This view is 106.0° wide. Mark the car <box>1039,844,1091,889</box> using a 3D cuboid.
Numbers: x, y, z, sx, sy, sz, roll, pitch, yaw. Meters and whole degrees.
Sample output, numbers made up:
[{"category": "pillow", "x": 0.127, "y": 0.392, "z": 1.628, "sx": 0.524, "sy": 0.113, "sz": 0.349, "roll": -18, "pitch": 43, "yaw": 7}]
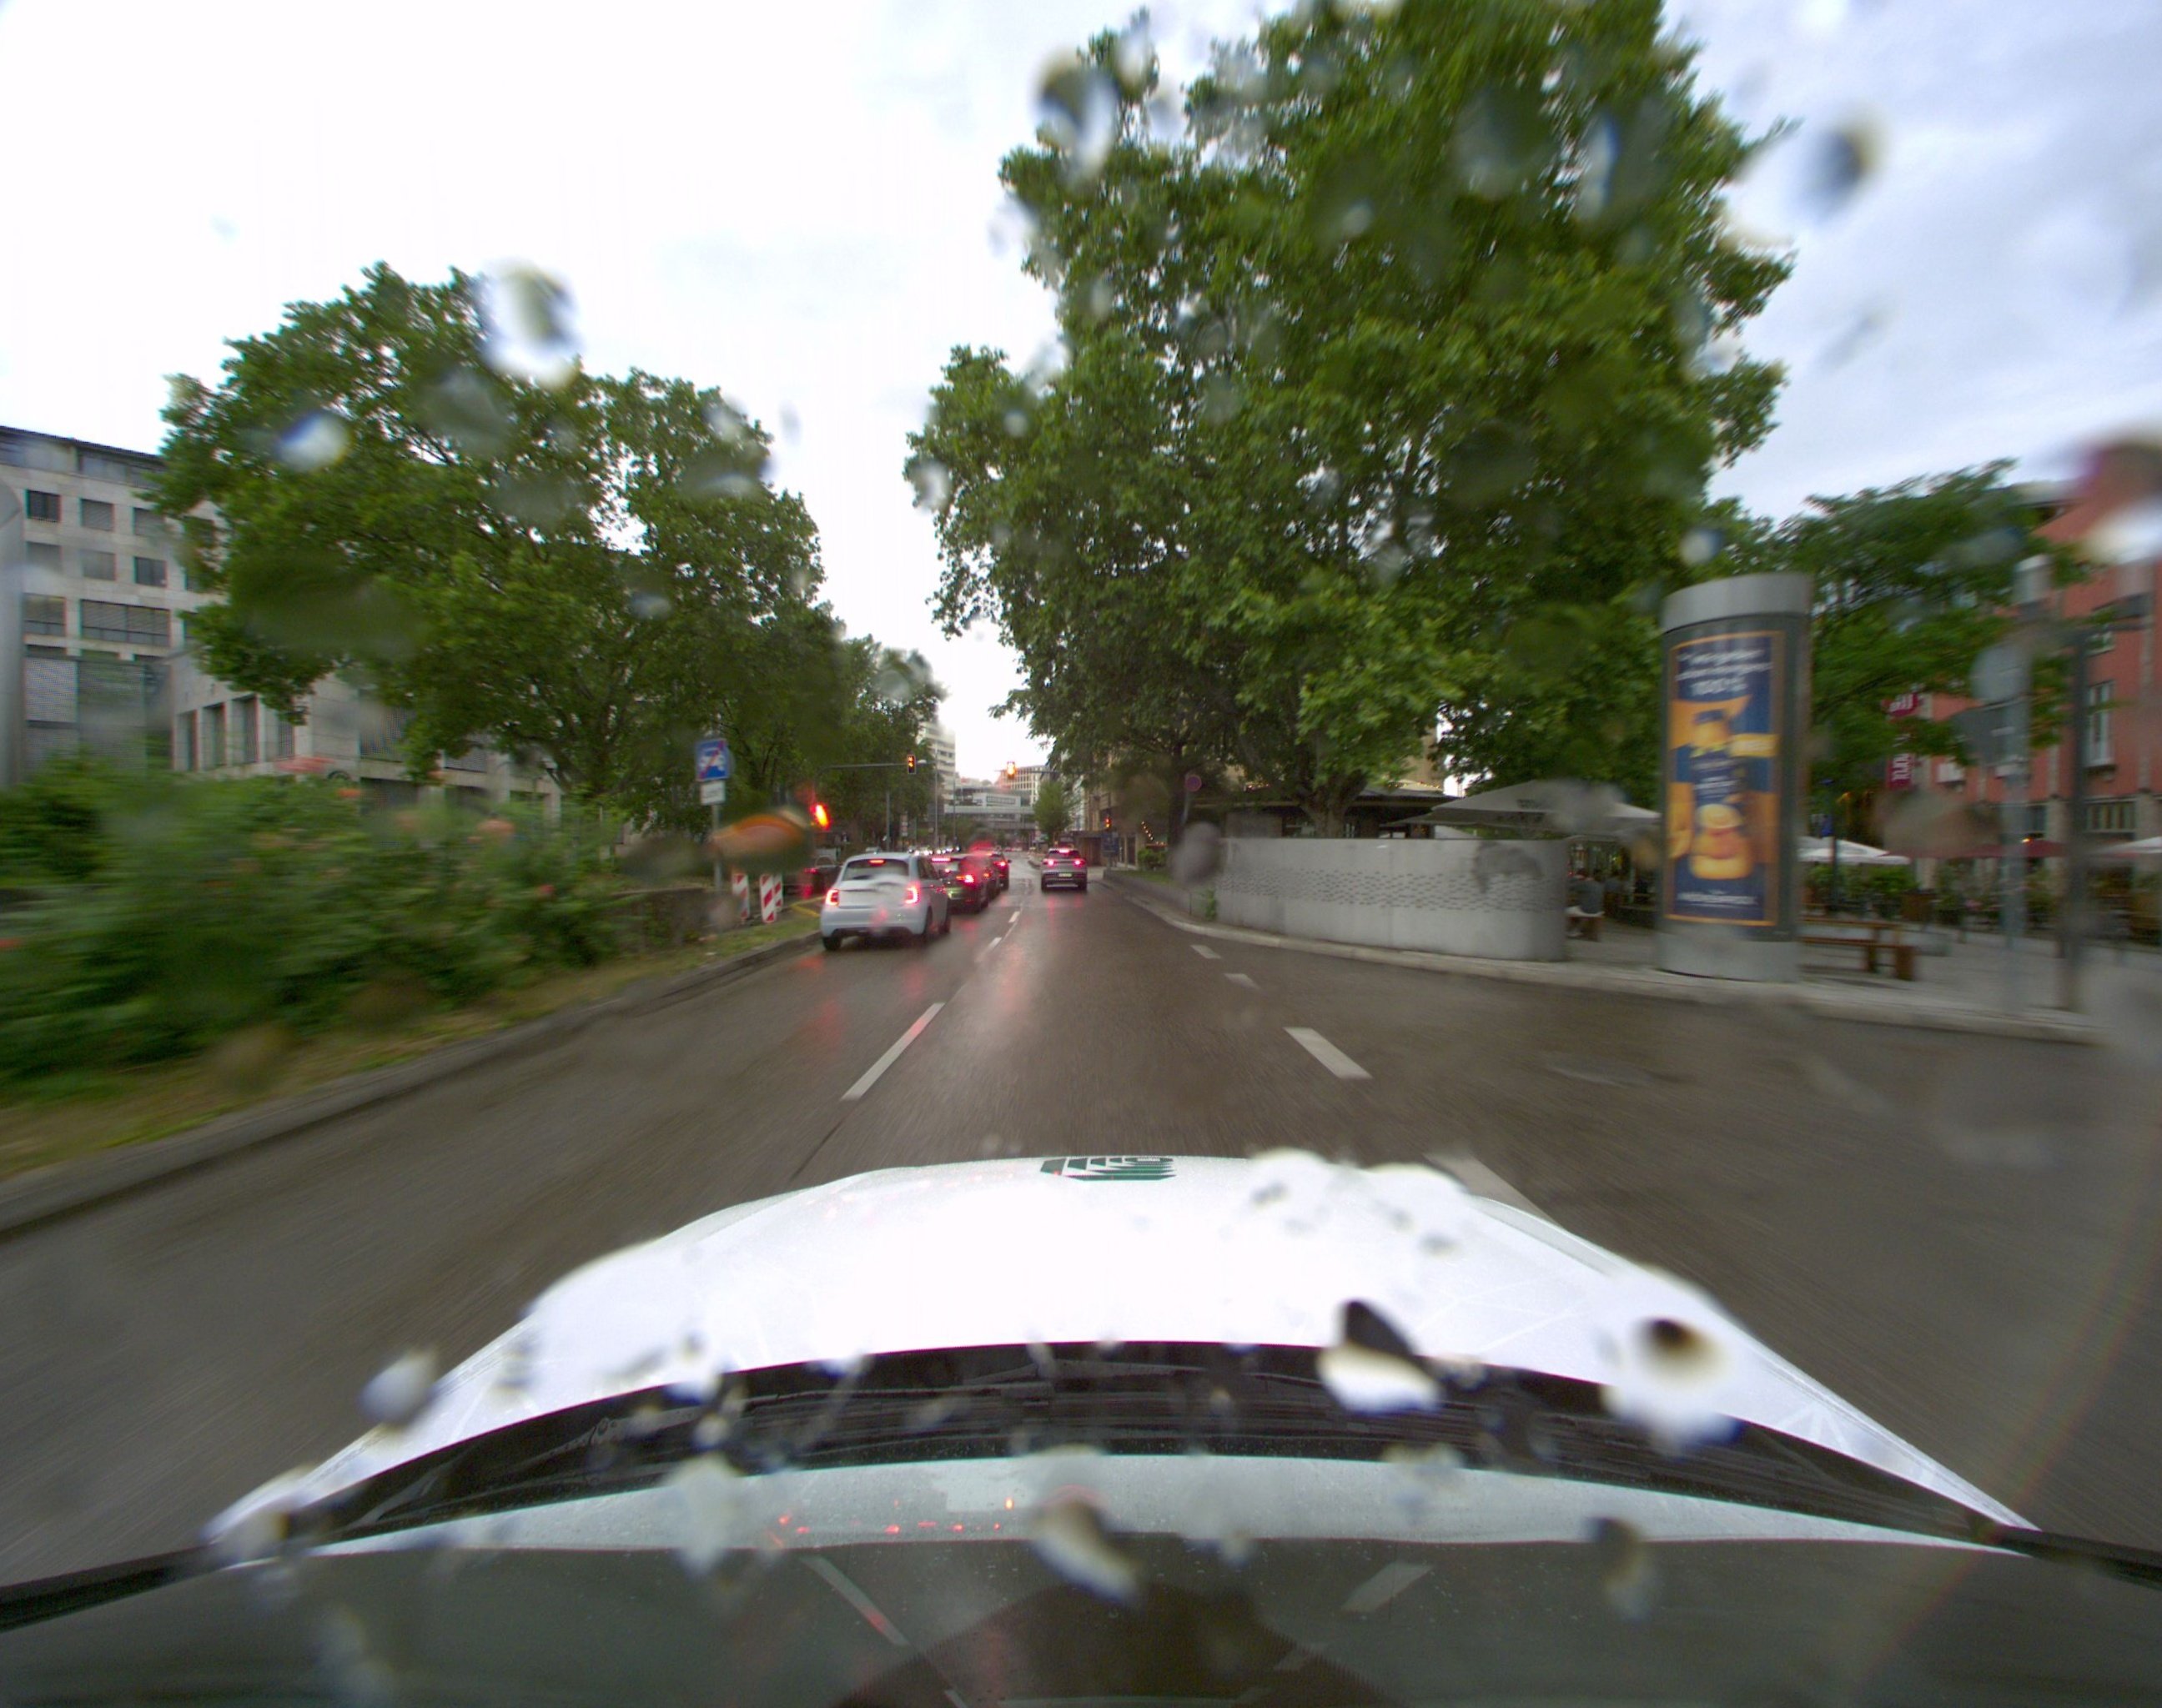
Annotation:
[{"category": "car", "x": -0.682, "y": 0.483, "z": 33.247, "sx": 1.942, "sy": 1.666, "sz": 4.342, "roll": 1, "pitch": 0, "yaw": -2}]

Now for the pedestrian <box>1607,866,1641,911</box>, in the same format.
[{"category": "pedestrian", "x": 17.417, "y": 1.102, "z": 26.139, "sx": 0.607, "sy": 1.412, "sz": 0.628, "roll": 3, "pitch": 0, "yaw": -10}]

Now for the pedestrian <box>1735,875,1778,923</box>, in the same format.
[{"category": "pedestrian", "x": 18.536, "y": 1.237, "z": 22.362, "sx": 0.626, "sy": 1.250, "sz": 0.610, "roll": 3, "pitch": 0, "yaw": 2}]

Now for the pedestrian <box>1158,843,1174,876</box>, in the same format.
[{"category": "pedestrian", "x": 4.659, "y": 0.302, "z": 44.741, "sx": 0.856, "sy": 1.780, "sz": 0.718, "roll": 0, "pitch": 0, "yaw": 1}]

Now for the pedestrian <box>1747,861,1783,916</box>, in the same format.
[{"category": "pedestrian", "x": 23.672, "y": 1.189, "z": 28.197, "sx": 0.739, "sy": 1.832, "sz": 0.612, "roll": 3, "pitch": 0, "yaw": 18}]

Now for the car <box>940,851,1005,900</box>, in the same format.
[{"category": "car", "x": -3.545, "y": 0.649, "z": 27.279, "sx": 1.687, "sy": 1.463, "sz": 4.342, "roll": -2, "pitch": 0, "yaw": -2}]

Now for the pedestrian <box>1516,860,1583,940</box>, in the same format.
[{"category": "pedestrian", "x": 8.655, "y": 0.827, "z": 15.075, "sx": 0.682, "sy": 1.410, "sz": 0.905, "roll": 3, "pitch": 0, "yaw": 2}]

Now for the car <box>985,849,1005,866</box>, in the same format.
[{"category": "car", "x": -8.017, "y": 0.294, "z": 75.901, "sx": 1.688, "sy": 1.463, "sz": 4.338, "roll": -2, "pitch": 0, "yaw": -5}]

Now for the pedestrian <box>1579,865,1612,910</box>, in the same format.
[{"category": "pedestrian", "x": 16.948, "y": 1.102, "z": 26.823, "sx": 0.607, "sy": 1.412, "sz": 0.628, "roll": 3, "pitch": 0, "yaw": -10}]

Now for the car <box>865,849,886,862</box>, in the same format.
[{"category": "car", "x": -25.511, "y": 0.173, "z": 101.063, "sx": 1.791, "sy": 1.510, "sz": 4.493, "roll": -2, "pitch": 0, "yaw": -5}]

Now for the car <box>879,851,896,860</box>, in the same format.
[{"category": "car", "x": -29.239, "y": 0.178, "z": 123.211, "sx": 1.845, "sy": 1.366, "sz": 4.232, "roll": 0, "pitch": 0, "yaw": -5}]

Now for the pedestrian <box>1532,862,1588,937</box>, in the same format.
[{"category": "pedestrian", "x": 9.400, "y": 0.872, "z": 16.004, "sx": 0.682, "sy": 1.410, "sz": 0.661, "roll": 3, "pitch": 0, "yaw": 2}]

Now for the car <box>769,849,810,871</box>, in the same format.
[{"category": "car", "x": -22.096, "y": 0.428, "z": 61.964, "sx": 1.791, "sy": 1.510, "sz": 4.493, "roll": -2, "pitch": 0, "yaw": -5}]

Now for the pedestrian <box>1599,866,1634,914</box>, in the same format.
[{"category": "pedestrian", "x": 16.519, "y": 1.098, "z": 25.139, "sx": 0.607, "sy": 1.412, "sz": 0.628, "roll": 3, "pitch": 0, "yaw": -10}]

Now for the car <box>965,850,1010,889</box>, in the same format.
[{"category": "car", "x": -3.824, "y": 0.587, "z": 33.867, "sx": 1.688, "sy": 1.463, "sz": 4.338, "roll": -2, "pitch": 0, "yaw": -5}]

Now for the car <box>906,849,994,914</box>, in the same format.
[{"category": "car", "x": -3.253, "y": 0.624, "z": 21.007, "sx": 1.687, "sy": 1.463, "sz": 4.127, "roll": -2, "pitch": 0, "yaw": -2}]

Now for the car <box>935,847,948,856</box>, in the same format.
[{"category": "car", "x": -25.702, "y": -0.492, "z": 150.187, "sx": 1.791, "sy": 1.510, "sz": 4.493, "roll": -2, "pitch": 0, "yaw": -5}]

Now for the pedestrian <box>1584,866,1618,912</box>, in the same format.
[{"category": "pedestrian", "x": 16.633, "y": 1.100, "z": 26.053, "sx": 0.607, "sy": 1.412, "sz": 0.628, "roll": 3, "pitch": 0, "yaw": -10}]

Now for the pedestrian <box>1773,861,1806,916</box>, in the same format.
[{"category": "pedestrian", "x": 24.354, "y": 1.190, "z": 28.009, "sx": 0.623, "sy": 1.832, "sz": 0.612, "roll": 3, "pitch": 0, "yaw": 18}]

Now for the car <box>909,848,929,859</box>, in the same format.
[{"category": "car", "x": -22.283, "y": -0.127, "z": 112.338, "sx": 2.155, "sy": 1.463, "sz": 4.338, "roll": -2, "pitch": 0, "yaw": -5}]

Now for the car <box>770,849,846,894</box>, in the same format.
[{"category": "car", "x": -10.510, "y": 0.621, "z": 31.655, "sx": 1.695, "sy": 1.619, "sz": 3.998, "roll": 0, "pitch": 1, "yaw": -2}]

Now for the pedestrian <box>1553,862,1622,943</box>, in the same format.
[{"category": "pedestrian", "x": 9.373, "y": 0.870, "z": 15.095, "sx": 0.682, "sy": 1.410, "sz": 0.905, "roll": 3, "pitch": 0, "yaw": 2}]

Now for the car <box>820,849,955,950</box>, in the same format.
[{"category": "car", "x": -3.229, "y": 0.681, "z": 14.214, "sx": 1.586, "sy": 1.491, "sz": 3.502, "roll": -2, "pitch": 0, "yaw": -2}]

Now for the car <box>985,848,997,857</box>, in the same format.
[{"category": "car", "x": -15.634, "y": -0.253, "z": 142.073, "sx": 1.975, "sy": 1.463, "sz": 4.338, "roll": -2, "pitch": 0, "yaw": -5}]

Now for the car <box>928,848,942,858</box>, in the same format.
[{"category": "car", "x": -23.147, "y": -0.235, "z": 129.205, "sx": 1.791, "sy": 1.510, "sz": 4.493, "roll": -2, "pitch": 0, "yaw": -5}]
